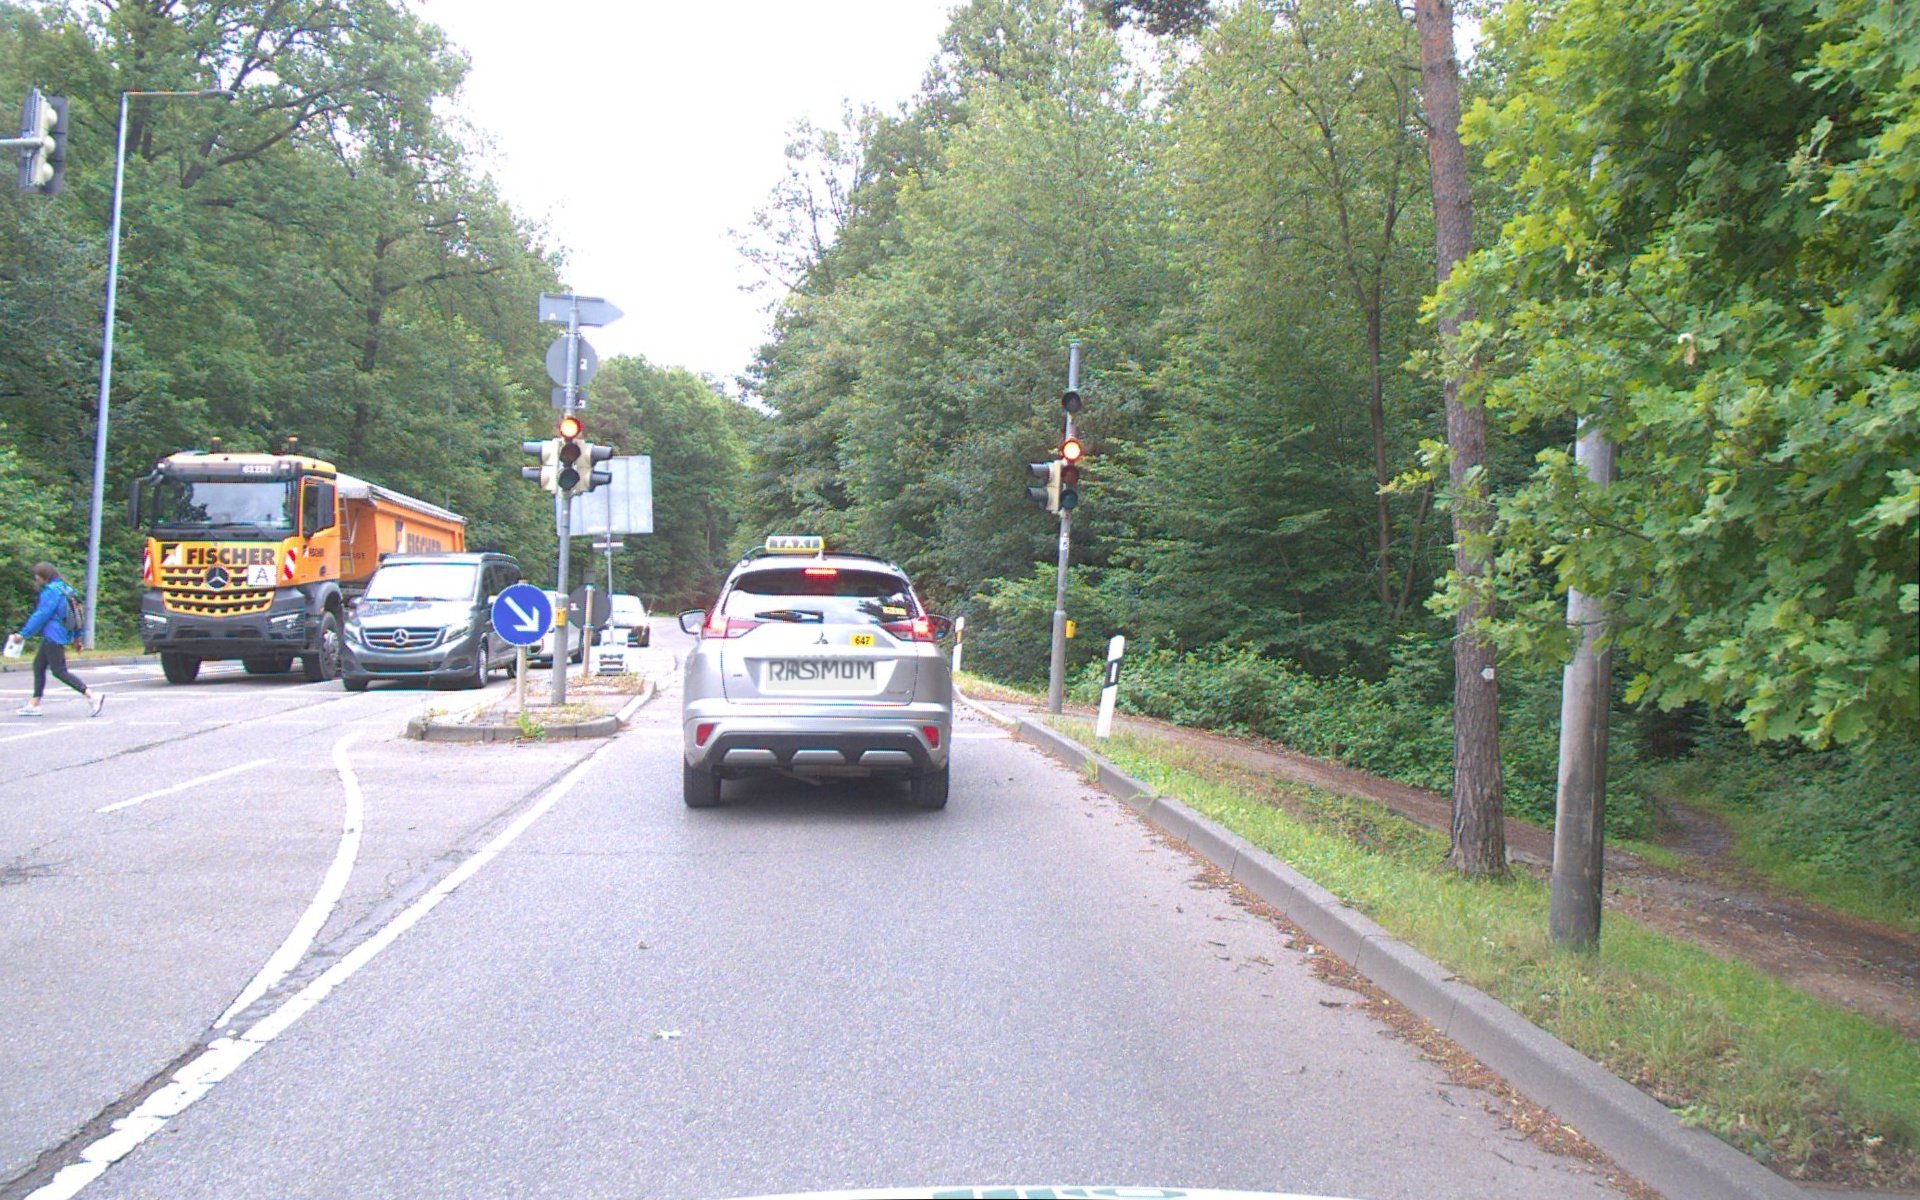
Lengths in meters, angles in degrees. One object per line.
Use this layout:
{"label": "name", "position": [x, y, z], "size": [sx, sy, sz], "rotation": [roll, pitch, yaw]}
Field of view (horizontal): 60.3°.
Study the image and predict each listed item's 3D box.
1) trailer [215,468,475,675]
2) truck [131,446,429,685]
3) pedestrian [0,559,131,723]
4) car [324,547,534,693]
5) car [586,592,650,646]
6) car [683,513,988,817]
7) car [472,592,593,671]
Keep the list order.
{"label": "trailer", "position": [-11.322, -0.422, 31.393], "size": [2.687, 3.376, 8.555], "rotation": [0, -1, -7]}
{"label": "truck", "position": [-10.801, -0.462, 27.096], "size": [2.687, 3.376, 7.148], "rotation": [0, -1, -7]}
{"label": "pedestrian", "position": [-9.613, 0.411, 17.598], "size": [1.025, 1.678, 1.069], "rotation": [1, 1, 1]}
{"label": "car", "position": [-7.688, 0.265, 24.429], "size": [1.955, 1.927, 4.833], "rotation": [0, 0, -6]}
{"label": "car", "position": [-10.340, 0.561, 50.047], "size": [1.780, 1.534, 3.710], "rotation": [-1, 0, -12]}
{"label": "car", "position": [-0.962, 0.390, 12.065], "size": [1.811, 1.811, 3.995], "rotation": [2, 0, -6]}
{"label": "car", "position": [-8.136, 0.563, 31.745], "size": [1.580, 1.344, 3.718], "rotation": [-1, 1, -4]}
